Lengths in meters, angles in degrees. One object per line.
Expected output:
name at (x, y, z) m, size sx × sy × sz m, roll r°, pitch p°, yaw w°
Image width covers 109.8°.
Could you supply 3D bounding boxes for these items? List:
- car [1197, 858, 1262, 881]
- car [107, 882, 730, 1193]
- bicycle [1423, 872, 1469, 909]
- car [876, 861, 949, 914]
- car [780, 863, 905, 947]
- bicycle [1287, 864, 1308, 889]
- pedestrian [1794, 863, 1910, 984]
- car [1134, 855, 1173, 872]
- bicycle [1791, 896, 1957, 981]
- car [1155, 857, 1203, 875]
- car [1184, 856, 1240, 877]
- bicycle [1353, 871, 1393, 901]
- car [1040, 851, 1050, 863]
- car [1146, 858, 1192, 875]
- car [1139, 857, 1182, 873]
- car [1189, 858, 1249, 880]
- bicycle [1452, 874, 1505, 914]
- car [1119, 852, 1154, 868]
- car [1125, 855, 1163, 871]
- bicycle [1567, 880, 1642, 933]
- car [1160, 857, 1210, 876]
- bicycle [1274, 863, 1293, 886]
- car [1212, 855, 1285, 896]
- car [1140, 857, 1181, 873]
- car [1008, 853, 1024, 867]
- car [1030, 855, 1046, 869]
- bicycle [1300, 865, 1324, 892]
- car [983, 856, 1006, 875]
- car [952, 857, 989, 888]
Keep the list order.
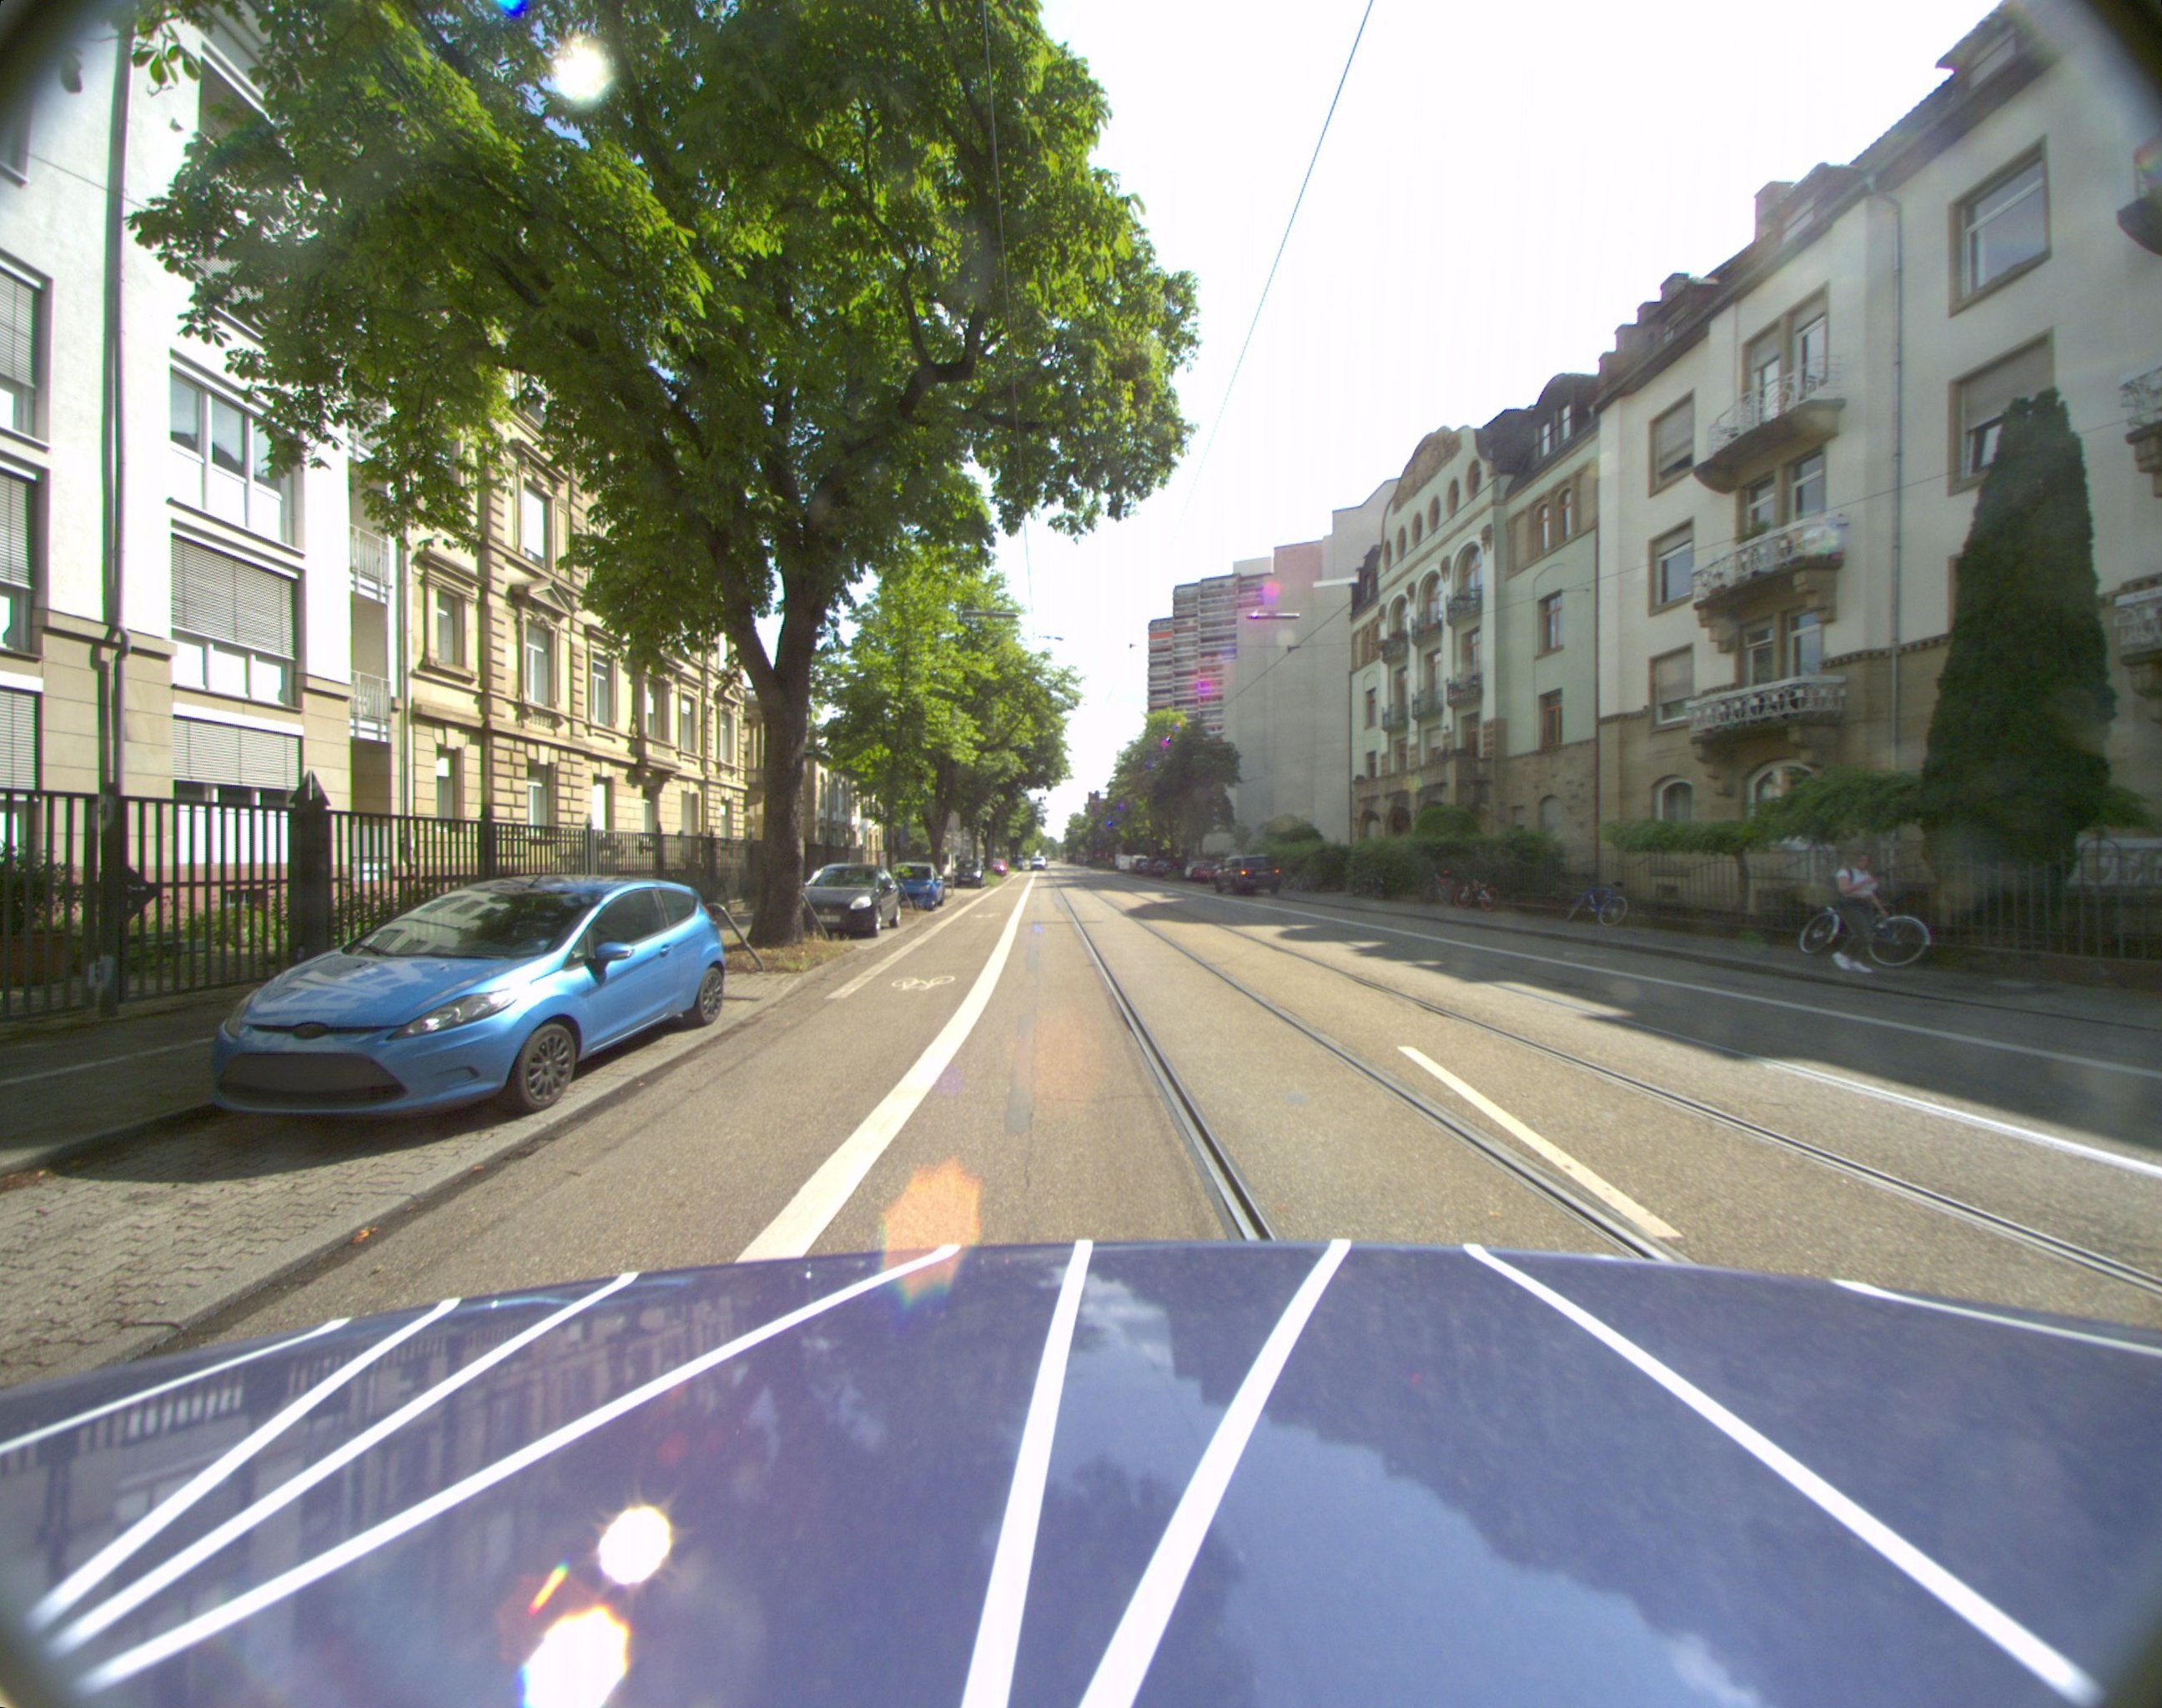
car at (9.595, 0.995, 49.389) m, size 3.994 × 1.499 × 2.001 m, roll 0°, pitch 0°, yaw 8°
car at (-4.324, 1.044, 5.837) m, size 1.647 × 1.467 × 3.660 m, roll 3°, pitch 0°, yaw -3°
bicycle at (10.714, 1.059, 22.364) m, size 0.468 × 0.990 × 1.787 m, roll 0°, pitch 0°, yaw -1°
car at (-5.306, 1.020, 24.352) m, size 1.679 × 1.467 × 3.659 m, roll 3°, pitch 0°, yaw -4°
car at (-4.908, 0.993, 16.137) m, size 1.679 × 1.467 × 3.659 m, roll 3°, pitch 0°, yaw -4°
bicycle at (10.108, 1.039, 35.505) m, size 0.468 × 1.128 × 1.787 m, roll 0°, pitch 0°, yaw -1°
pedestrian at (10.182, 0.885, 10.064) m, size 0.759 × 1.532 × 0.765 m, roll 0°, pitch 0°, yaw -2°
car at (7.500, 0.994, 78.615) m, size 3.994 × 1.672 × 2.001 m, roll 0°, pitch 0°, yaw 8°
bicycle at (11.100, 1.138, 10.736) m, size 0.467 × 0.990 × 1.979 m, roll 0°, pitch 0°, yaw 7°
car at (8.477, 1.052, 65.651) m, size 3.994 × 1.499 × 2.001 m, roll 0°, pitch 0°, yaw 8°
car at (9.704, 0.929, 56.445) m, size 3.994 × 1.499 × 2.001 m, roll 0°, pitch 0°, yaw 8°
bicycle at (10.131, 1.097, 26.452) m, size 0.605 × 0.990 × 1.981 m, roll 0°, pitch 0°, yaw -1°
car at (-7.665, 0.616, 161.589) m, size 2.146 × 2.568 × 4.817 m, roll 0°, pitch 0°, yaw -2°
car at (7.982, 1.093, 68.771) m, size 3.994 × 1.499 × 2.001 m, roll 0°, pitch 0°, yaw 8°
car at (7.581, 1.071, 71.981) m, size 3.994 × 1.499 × 2.001 m, roll 0°, pitch 0°, yaw 8°
car at (9.565, 1.008, 52.897) m, size 3.994 × 1.499 × 2.001 m, roll 0°, pitch 0°, yaw 8°
bicycle at (10.674, 1.064, 20.466) m, size 0.468 × 0.990 × 1.787 m, roll 0°, pitch 0°, yaw -1°
car at (6.512, 0.647, 88.877) m, size 1.994 × 1.740 × 4.008 m, roll -1°, pitch 1°, yaw 41°
car at (6.924, 0.980, 83.042) m, size 3.994 × 1.672 × 2.001 m, roll 0°, pitch 0°, yaw 8°
bicycle at (10.959, 1.071, 15.981) m, size 0.467 × 0.990 × 1.787 m, roll 0°, pitch 0°, yaw 5°
car at (8.570, 1.036, 62.495) m, size 3.994 × 1.499 × 2.001 m, roll 0°, pitch 0°, yaw 8°
bicycle at (10.011, 0.997, 37.602) m, size 0.468 × 1.128 × 1.787 m, roll 0°, pitch 0°, yaw -1°
car at (7.281, 0.872, 33.425) m, size 1.922 × 1.685 × 4.400 m, roll 0°, pitch 0°, yaw -5°
car at (7.913, 1.072, 75.141) m, size 3.994 × 1.499 × 2.001 m, roll 0°, pitch 0°, yaw 8°
car at (-7.733, 0.646, 90.564) m, size 1.744 × 1.564 × 3.928 m, roll 3°, pitch 0°, yaw -4°
car at (-5.732, 1.031, 102.301) m, size 1.974 × 1.900 × 4.817 m, roll 0°, pitch 0°, yaw -2°
bicycle at (10.188, 1.058, 33.563) m, size 0.468 × 1.128 × 1.787 m, roll 0°, pitch 0°, yaw -1°
car at (-7.430, 0.979, 65.888) m, size 1.744 × 1.564 × 3.928 m, roll 3°, pitch 0°, yaw -4°
car at (-6.185, 1.012, 42.930) m, size 1.744 × 1.564 × 3.659 m, roll 3°, pitch 0°, yaw -4°
